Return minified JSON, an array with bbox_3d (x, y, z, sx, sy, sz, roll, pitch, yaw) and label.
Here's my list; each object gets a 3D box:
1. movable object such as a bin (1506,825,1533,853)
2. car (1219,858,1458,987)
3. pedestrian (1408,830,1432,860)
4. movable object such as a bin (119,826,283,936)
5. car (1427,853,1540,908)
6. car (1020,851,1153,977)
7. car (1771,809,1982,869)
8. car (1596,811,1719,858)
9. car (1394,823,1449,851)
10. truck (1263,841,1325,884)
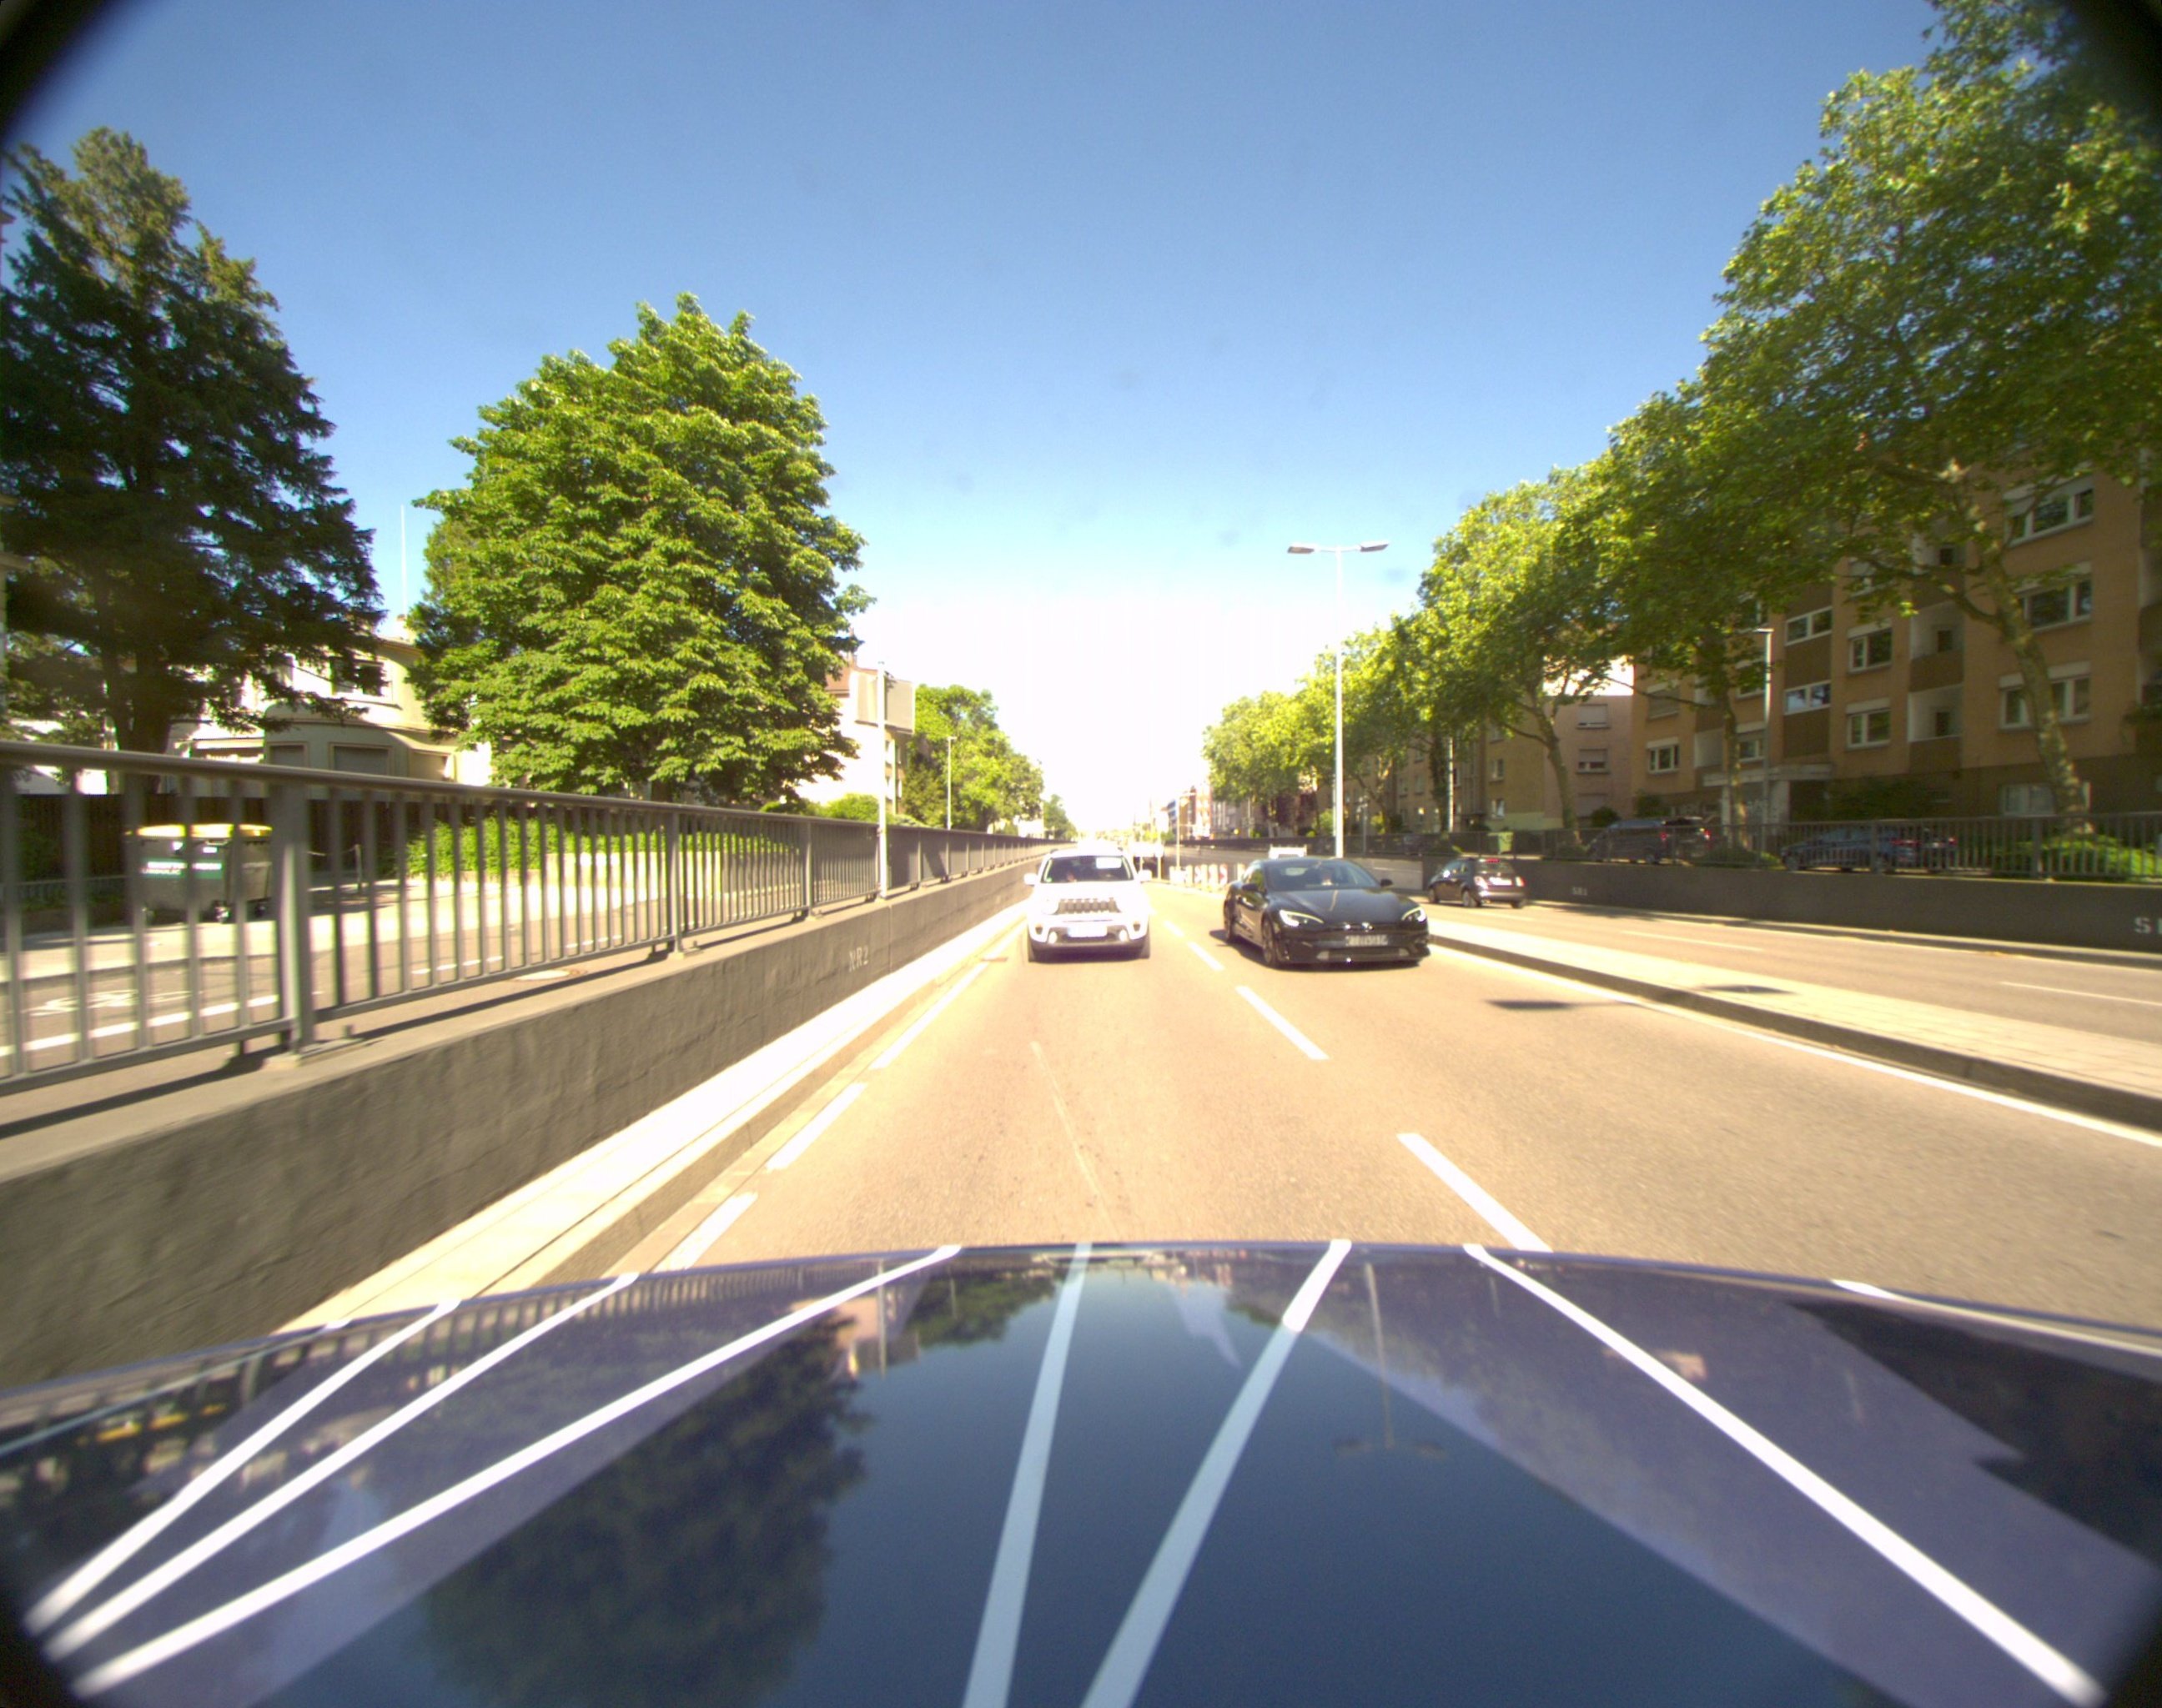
[{"bbox_3d":[26.896,-0.907,46.592,0.885,1.632,1.253,1,0,1],"label":"movable object such as a bin"},{"bbox_3d":[3.381,0.799,11.039,1.930,1.403,4.626,-1,0,1],"label":"car"},{"bbox_3d":[20.489,-0.550,45.942,0.901,1.789,1.019,1,1,-3],"label":"pedestrian"},{"bbox_3d":[-11.958,0.344,10.399,0.975,1.390,1.285,1,0,-21],"label":"movable object such as a bin"},{"bbox_3d":[12.050,0.739,22.986,1.662,1.465,3.297,2,0,1],"label":"car"},{"bbox_3d":[0.102,0.818,12.256,1.744,1.648,3.690,-3,0,1],"label":"car"},{"bbox_3d":[22.927,-0.402,22.174,1.998,1.571,4.000,1,0,2],"label":"car"},{"bbox_3d":[23.022,-0.744,30.555,1.998,1.743,4.000,-1,0,2],"label":"car"},{"bbox_3d":[23.514,-1.127,52.618,1.998,1.839,4.000,1,0,1],"label":"car"},{"bbox_3d":[12.614,0.449,45.376,2.285,2.380,5.367,1,0,1],"label":"truck"}]
